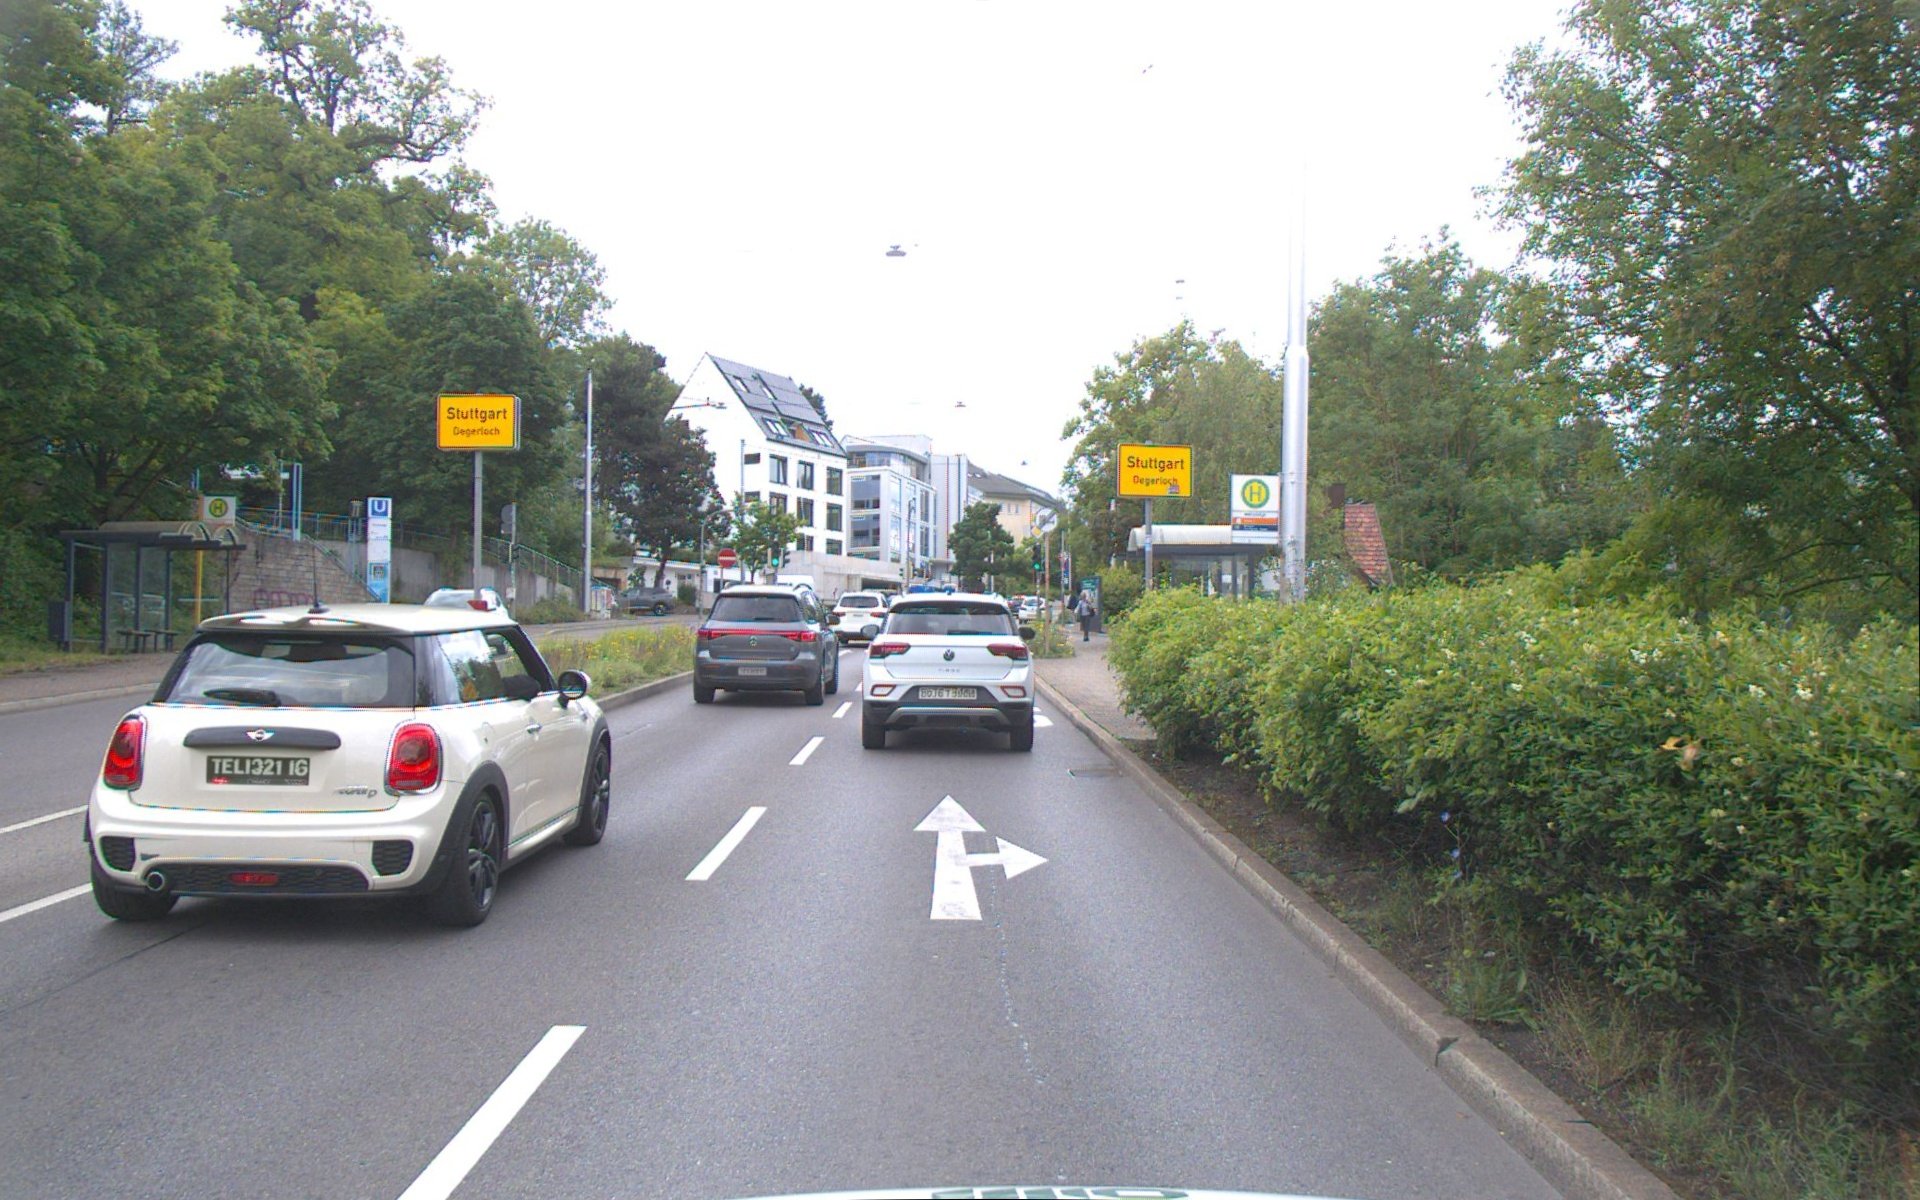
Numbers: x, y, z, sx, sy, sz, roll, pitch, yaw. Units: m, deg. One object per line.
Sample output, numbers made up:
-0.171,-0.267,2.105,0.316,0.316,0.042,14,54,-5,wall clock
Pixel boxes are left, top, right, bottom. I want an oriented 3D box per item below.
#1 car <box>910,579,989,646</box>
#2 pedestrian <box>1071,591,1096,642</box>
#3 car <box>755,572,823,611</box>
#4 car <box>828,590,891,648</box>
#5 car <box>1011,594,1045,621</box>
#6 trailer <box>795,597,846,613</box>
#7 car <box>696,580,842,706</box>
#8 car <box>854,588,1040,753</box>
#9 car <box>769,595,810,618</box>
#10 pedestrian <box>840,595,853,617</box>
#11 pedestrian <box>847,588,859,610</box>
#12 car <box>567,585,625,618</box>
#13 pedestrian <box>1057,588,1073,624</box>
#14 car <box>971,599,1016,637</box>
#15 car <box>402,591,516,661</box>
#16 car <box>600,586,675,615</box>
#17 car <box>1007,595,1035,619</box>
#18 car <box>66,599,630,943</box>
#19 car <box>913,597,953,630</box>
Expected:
-0.226,0.300,42.463,1.835,1.527,4.555,3,0,1,car
4.223,0.567,56.513,0.679,1.718,0.620,-1,-1,21,pedestrian
-11.771,-0.548,114.648,2.184,2.613,7.427,0,0,15,car
-3.076,0.557,51.189,1.820,1.681,4.634,0,0,-2,car
3.924,0.420,96.392,1.820,1.527,4.055,0,0,0,car
-10.133,0.372,120.458,2.199,1.131,4.626,0,0,15,trailer
-2.725,0.572,24.516,1.776,1.681,4.634,0,0,-2,car
-0.191,0.668,17.701,1.775,1.566,3.688,0,0,-2,car
-11.041,0.424,107.414,1.587,1.491,3.930,0,0,11,car
-8.611,0.464,125.354,0.667,1.669,0.664,2,0,-33,pedestrian
-8.296,-0.083,128.481,0.667,1.669,0.664,2,0,-33,pedestrian
-19.179,0.085,87.061,2.667,1.547,1.552,4,-1,-24,car
5.524,0.313,86.998,0.680,1.866,0.619,2,0,-7,pedestrian
1.520,0.794,73.745,1.834,1.527,4.556,3,0,3,car
-11.912,0.582,39.557,1.695,1.568,4.040,1,0,-4,car
-17.906,0.009,91.720,4.048,1.567,1.593,0,0,-13,car
4.151,0.465,112.337,1.819,1.527,4.057,0,0,2,car
-2.901,0.709,8.656,1.594,1.418,3.566,0,0,0,car
-1.292,0.618,78.615,1.821,1.527,4.054,0,0,-2,car
